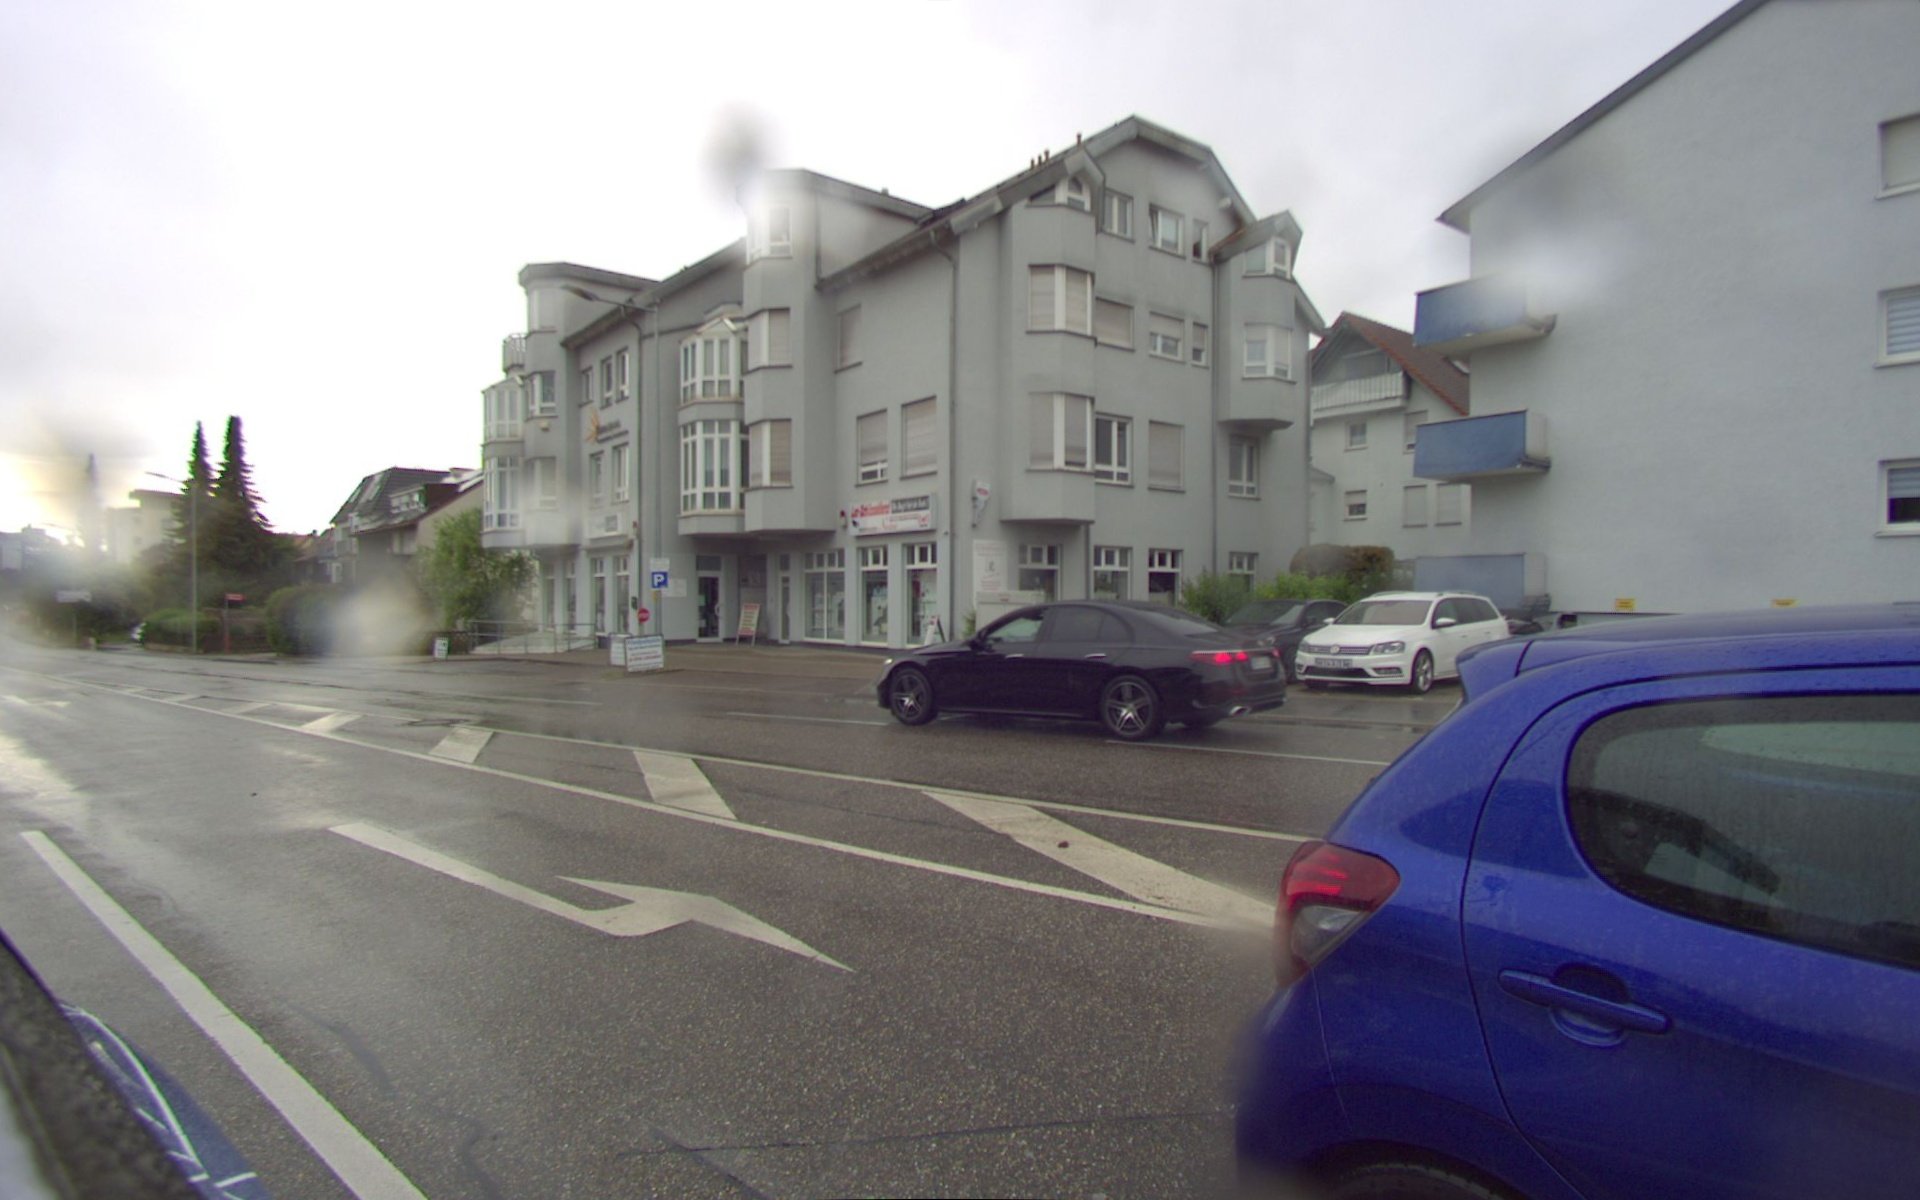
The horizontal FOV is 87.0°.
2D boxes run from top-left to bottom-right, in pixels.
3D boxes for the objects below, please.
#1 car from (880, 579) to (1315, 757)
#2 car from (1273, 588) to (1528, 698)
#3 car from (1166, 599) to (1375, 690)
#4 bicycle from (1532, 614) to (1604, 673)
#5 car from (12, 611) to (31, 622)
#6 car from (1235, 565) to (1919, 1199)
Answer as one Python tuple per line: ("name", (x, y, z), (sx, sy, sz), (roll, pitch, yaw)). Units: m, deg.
("car", (1.436, 0.643, 11.529), (4.532, 1.637, 1.975), (-1, 0, 38))
("car", (6.986, 0.608, 15.812), (4.685, 1.471, 1.883), (0, -2, -42))
("car", (5.497, 0.693, 17.656), (1.851, 1.366, 3.941), (-1, 0, 45))
("bicycle", (11.148, 0.796, 18.568), (1.065, 1.061, 0.343), (-2, -1, 41))
("car", (-169.986, 3.003, 183.371), (1.967, 1.832, 4.010), (-1, 0, -35))
("car", (2.240, 0.642, 1.203), (3.362, 1.423, 1.489), (-2, -1, 41))
